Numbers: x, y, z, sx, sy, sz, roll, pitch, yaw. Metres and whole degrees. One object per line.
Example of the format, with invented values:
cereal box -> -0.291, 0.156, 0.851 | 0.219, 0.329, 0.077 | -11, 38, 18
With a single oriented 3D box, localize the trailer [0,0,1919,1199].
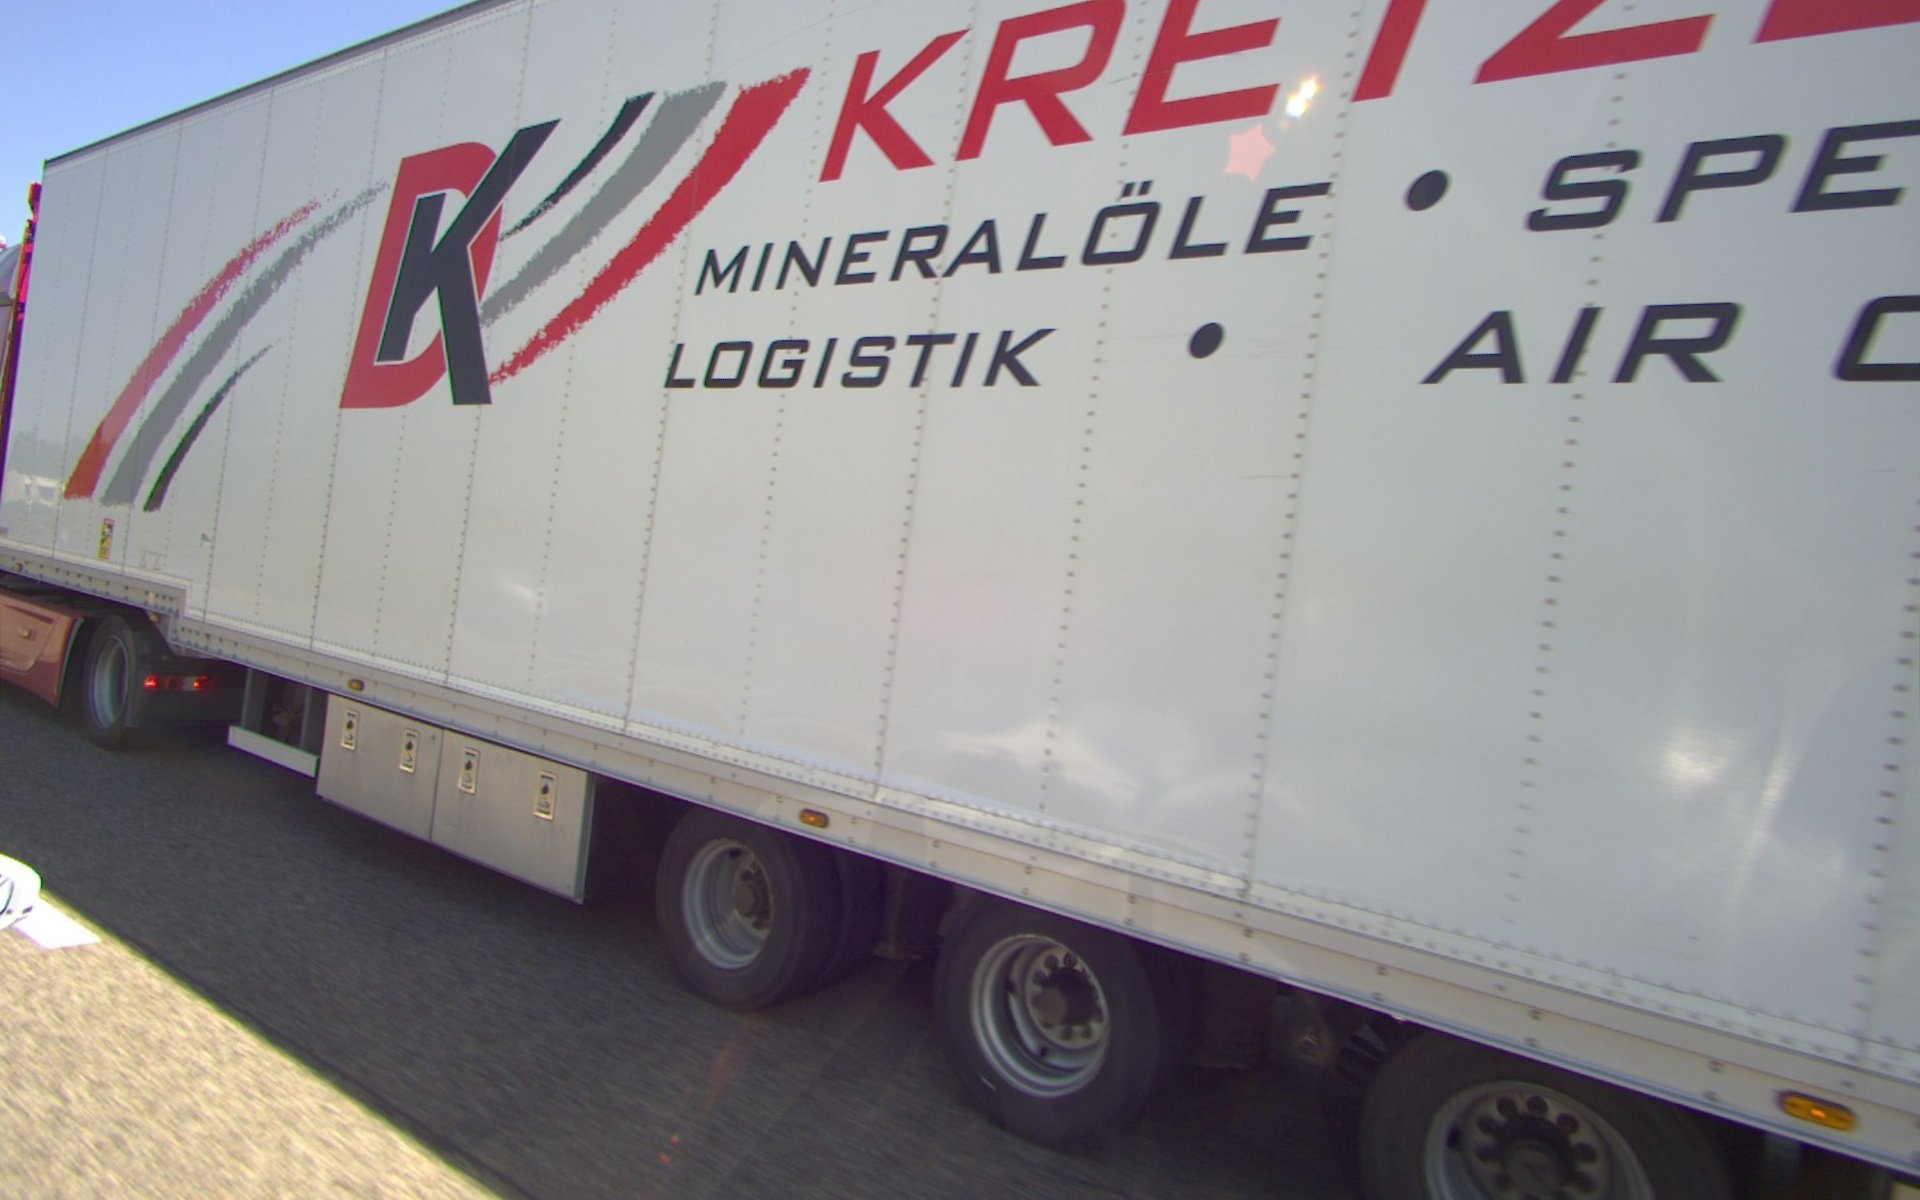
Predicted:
trailer -> -1.047, -0.898, 5.477 | 13.797, 4.896, 3.274 | 7, 0, 32

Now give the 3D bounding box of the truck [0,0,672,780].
truck -> -6.458, -1.638, 8.961 | 6.856, 4.948, 3.239 | 7, 0, 32
